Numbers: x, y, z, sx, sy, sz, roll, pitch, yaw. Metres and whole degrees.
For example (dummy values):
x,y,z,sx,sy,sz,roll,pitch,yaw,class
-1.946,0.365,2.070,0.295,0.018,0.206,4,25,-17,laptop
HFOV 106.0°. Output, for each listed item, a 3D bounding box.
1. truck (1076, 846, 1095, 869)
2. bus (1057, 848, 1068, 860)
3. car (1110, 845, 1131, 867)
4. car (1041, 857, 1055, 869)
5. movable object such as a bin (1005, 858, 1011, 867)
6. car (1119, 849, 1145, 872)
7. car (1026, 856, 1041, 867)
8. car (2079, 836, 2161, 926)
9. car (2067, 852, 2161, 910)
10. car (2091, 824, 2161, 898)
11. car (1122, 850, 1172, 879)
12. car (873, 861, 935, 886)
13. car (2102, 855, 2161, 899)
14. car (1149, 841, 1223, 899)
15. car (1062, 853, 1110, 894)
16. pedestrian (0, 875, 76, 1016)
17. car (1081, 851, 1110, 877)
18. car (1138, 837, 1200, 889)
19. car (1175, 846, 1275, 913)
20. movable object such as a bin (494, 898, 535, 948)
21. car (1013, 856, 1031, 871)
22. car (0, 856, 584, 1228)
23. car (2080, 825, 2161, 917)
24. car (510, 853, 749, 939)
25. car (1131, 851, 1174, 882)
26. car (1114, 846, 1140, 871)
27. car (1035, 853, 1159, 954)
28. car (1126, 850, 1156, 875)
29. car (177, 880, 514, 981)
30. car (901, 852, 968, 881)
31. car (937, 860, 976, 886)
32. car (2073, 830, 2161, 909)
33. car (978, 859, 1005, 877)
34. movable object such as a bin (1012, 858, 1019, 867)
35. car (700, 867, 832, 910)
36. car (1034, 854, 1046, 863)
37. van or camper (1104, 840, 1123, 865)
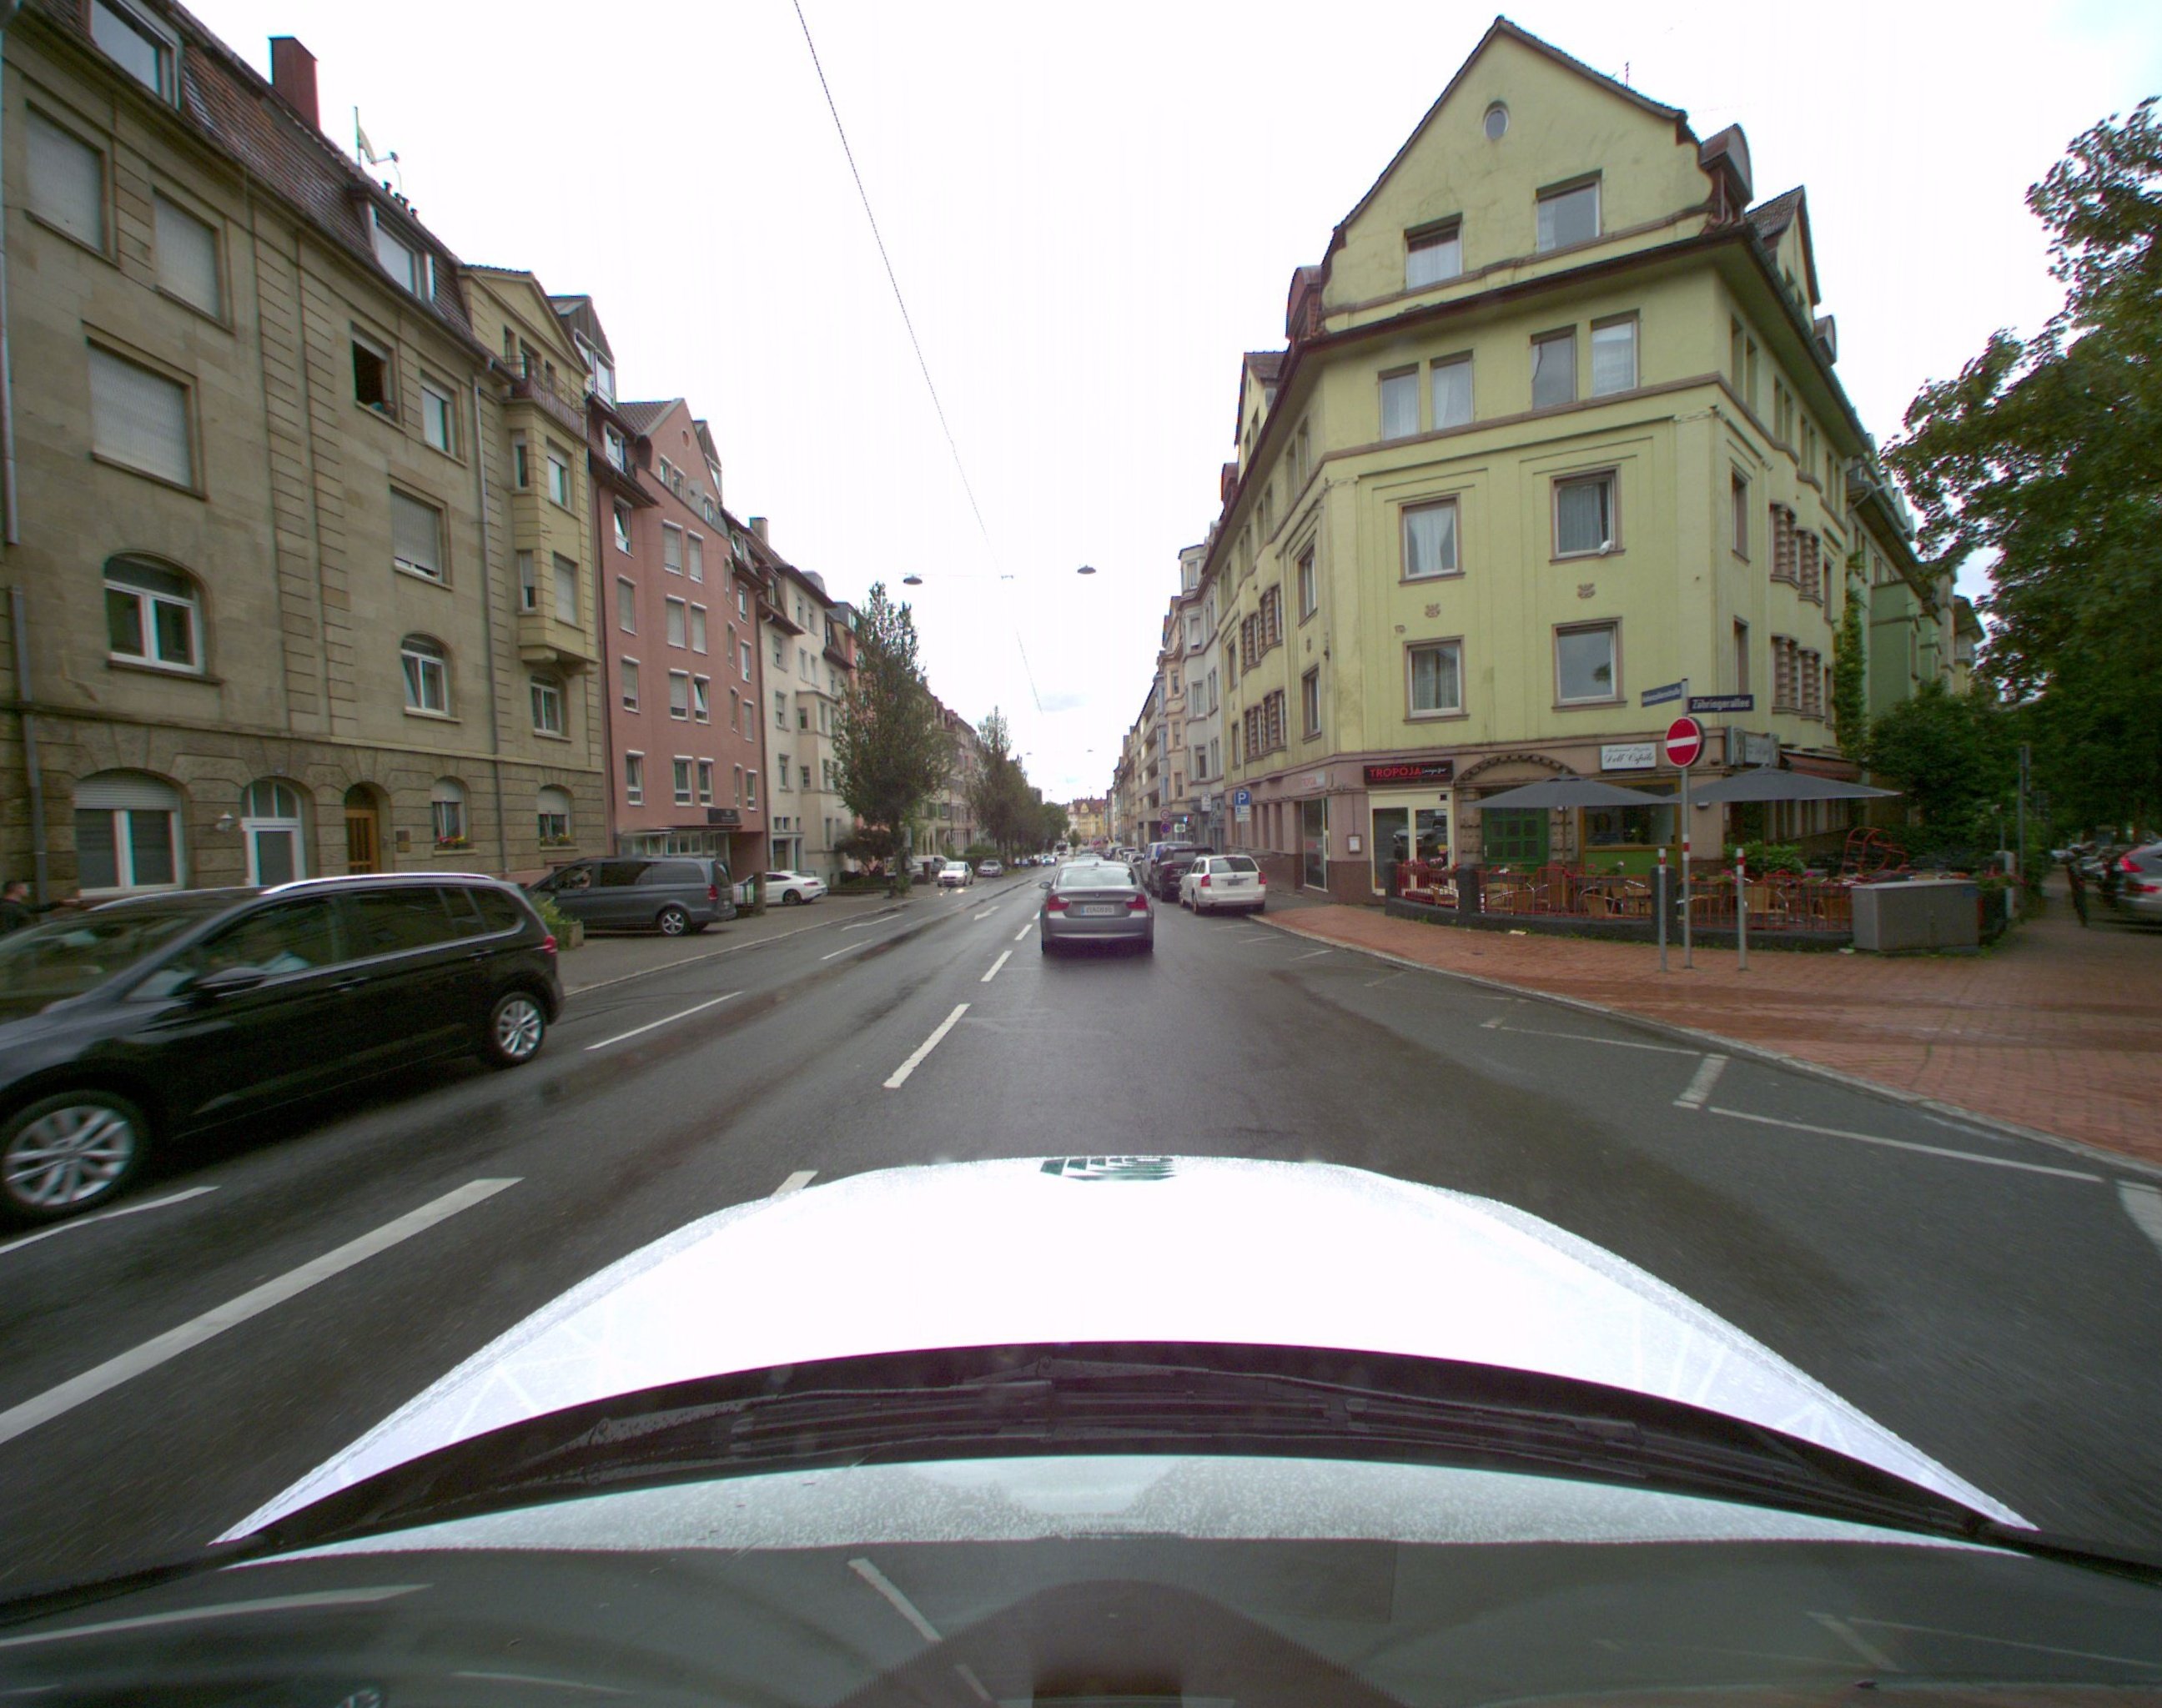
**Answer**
x,y,z,sx,sy,sz,roll,pitch,yaw,class
0.454,0.391,90.475,2.025,2.412,4.825,0,-1,0,truck
-5.087,-0.032,226.991,2.660,3.024,7.670,-3,0,0,bus
4.106,0.211,85.821,1.975,2.166,4.750,-3,0,0,car
-4.474,1.213,109.931,1.630,1.508,3.754,-5,0,0,car
-7.638,0.901,85.201,0.575,0.912,0.637,-3,0,-14,movable object such as a bin
3.948,0.495,63.841,1.720,1.670,4.288,-4,0,0,car
-6.928,1.094,119.379,1.821,1.523,3.737,-4,0,1,car
19.987,0.472,13.331,1.801,1.528,4.595,0,0,-39,car
33.191,0.819,24.910,1.801,1.748,3.853,0,0,-39,car
27.594,0.170,19.687,1.801,1.789,3.954,0,0,-39,car
3.536,0.571,44.255,1.873,1.467,4.765,-1,-1,-6,car
-12.072,1.337,55.740,3.878,1.457,1.787,-3,0,-7,car
40.550,0.861,29.871,1.741,1.588,3.853,0,0,-39,car
3.356,0.478,26.772,1.872,1.731,4.676,0,0,0,car
0.243,0.716,30.594,1.675,1.428,3.742,0,-1,2,car
-13.750,1.168,10.661,0.474,1.777,0.567,0,0,9,pedestrian
0.854,0.596,49.674,1.692,1.483,3.792,0,-1,0,car
3.432,0.348,32.779,1.913,1.827,5.009,-3,0,0,car
3.650,0.614,21.405,1.793,1.565,4.491,0,0,-1,car
-11.245,1.371,16.174,0.502,0.950,0.441,0,0,5,movable object such as a bin
-7.035,1.138,97.292,1.761,1.594,3.998,-4,0,-1,car
-5.551,0.906,5.238,1.613,1.649,4.425,-5,0,4,car
21.689,0.326,15.121,1.801,1.727,3.954,0,0,-39,car
-10.718,0.945,19.686,4.674,1.938,1.857,0,0,-10,car
3.355,0.584,38.750,1.672,1.375,4.276,-1,0,0,car
3.972,0.396,71.118,1.975,2.007,4.625,-3,0,0,car
0.252,0.704,13.526,1.763,1.428,3.741,0,0,1,car
3.720,0.544,50.933,1.606,1.474,4.015,-1,0,0,car
-12.696,1.281,14.275,4.133,1.510,1.873,-1,0,0,car
-11.493,0.963,64.034,4.813,1.974,2.048,-3,0,0,car
-7.546,1.116,49.544,1.615,1.446,4.006,-2,0,1,car
24.737,0.340,17.747,1.801,1.727,3.954,0,0,-39,car
-7.582,1.141,69.125,1.720,1.484,3.990,0,-1,1,car
-6.894,0.848,85.357,0.575,0.912,0.637,-3,0,-14,movable object such as a bin
-12.628,1.365,32.814,4.533,1.401,1.767,-3,0,-1,car
-6.982,0.774,139.714,1.684,1.523,3.737,-4,0,1,car
3.916,-0.192,96.336,2.024,2.869,6.892,1,0,4,van or camper
